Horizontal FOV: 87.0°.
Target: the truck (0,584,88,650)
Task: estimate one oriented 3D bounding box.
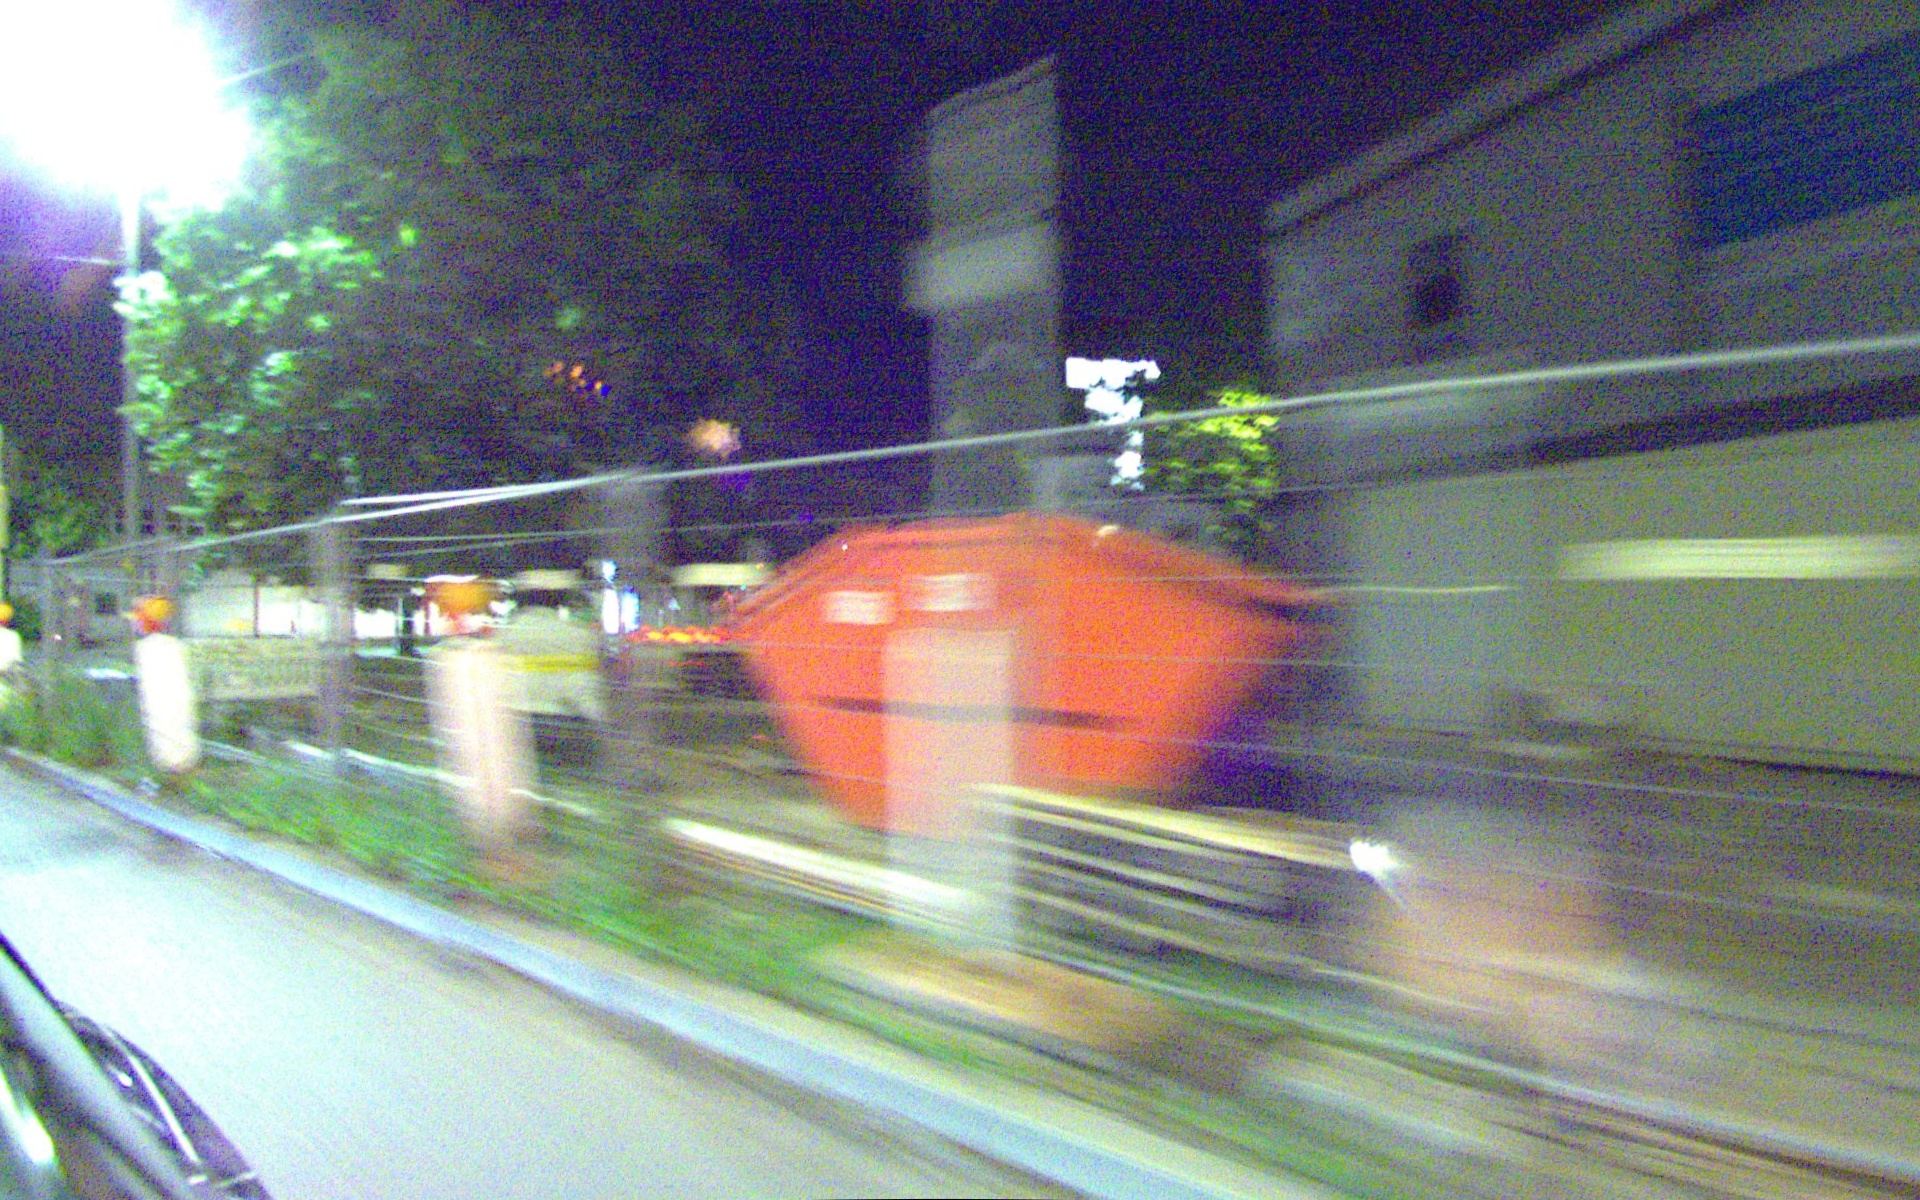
[{"bbox_3d":[-54.700,0.980,58.780,6.109,3.722,2.405,0,-1,-40],"label":"truck"}]
